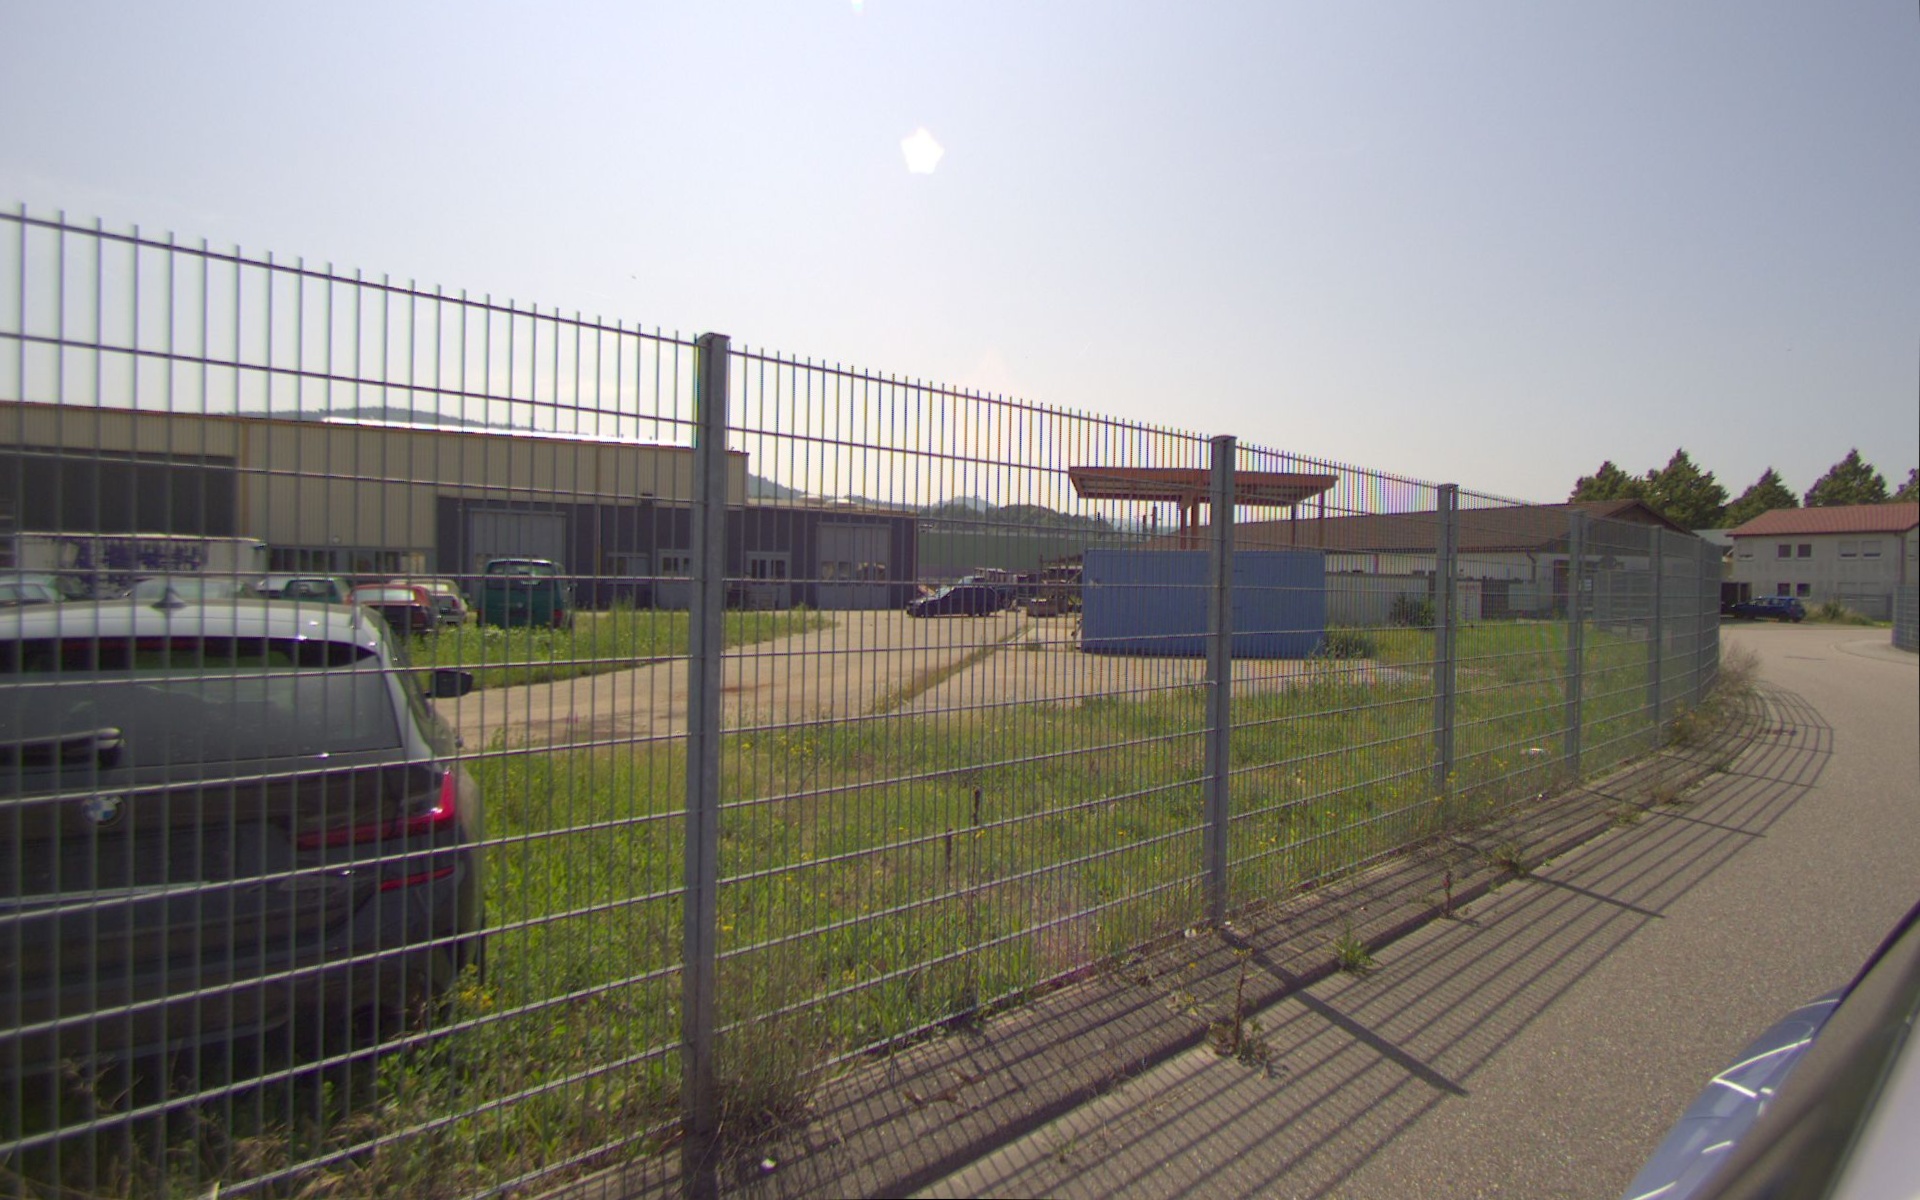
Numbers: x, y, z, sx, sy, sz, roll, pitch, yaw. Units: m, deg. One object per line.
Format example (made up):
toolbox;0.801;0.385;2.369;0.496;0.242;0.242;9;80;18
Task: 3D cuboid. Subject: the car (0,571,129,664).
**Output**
car;-14.822;0.207;15.546;1.803;1.220;4.400;1;2;-20

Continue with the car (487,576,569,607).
car;-20.226;-0.400;47.379;3.448;1.395;1.845;1;1;-27

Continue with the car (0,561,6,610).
car;-27.668;-0.373;26.894;1.932;1.402;4.399;1;2;-23

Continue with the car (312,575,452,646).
car;-10.325;0.135;18.306;1.636;1.122;3.383;1;2;-20

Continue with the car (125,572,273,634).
car;-19.224;0.023;25.802;1.803;1.395;4.400;1;2;-20

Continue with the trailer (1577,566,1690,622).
trailer;34.119;-0.368;51.413;1.958;2.572;4.375;0;3;-22

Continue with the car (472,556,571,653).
car;-10.018;0.035;23.374;1.803;2.006;4.400;1;1;-20

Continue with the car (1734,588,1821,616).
car;48.639;0.093;60.272;1.549;1.411;3.655;1;4;-25

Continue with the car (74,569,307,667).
car;-12.385;0.205;16.644;1.803;1.362;4.400;1;2;-20

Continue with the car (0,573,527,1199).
car;-2.983;0.601;4.156;1.685;1.334;4.395;1;2;-30

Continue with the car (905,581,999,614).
car;-0.380;-0.120;45.786;3.916;1.404;1.679;0;1;-20

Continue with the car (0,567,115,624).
car;-25.086;-0.180;27.547;1.803;1.395;4.400;1;2;-20

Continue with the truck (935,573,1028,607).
truck;1.189;-0.558;56.388;4.699;1.820;2.065;1;1;-18

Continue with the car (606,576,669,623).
car;-10.872;-0.057;33.947;1.803;1.395;4.400;1;2;-20

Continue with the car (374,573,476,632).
car;-14.254;0.020;27.189;1.803;1.395;4.400;1;2;-20

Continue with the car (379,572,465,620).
car;-17.160;-0.158;32.459;1.803;1.382;4.400;1;2;-20

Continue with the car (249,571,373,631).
car;-16.945;-0.032;26.645;1.803;1.395;4.400;1;2;-20
